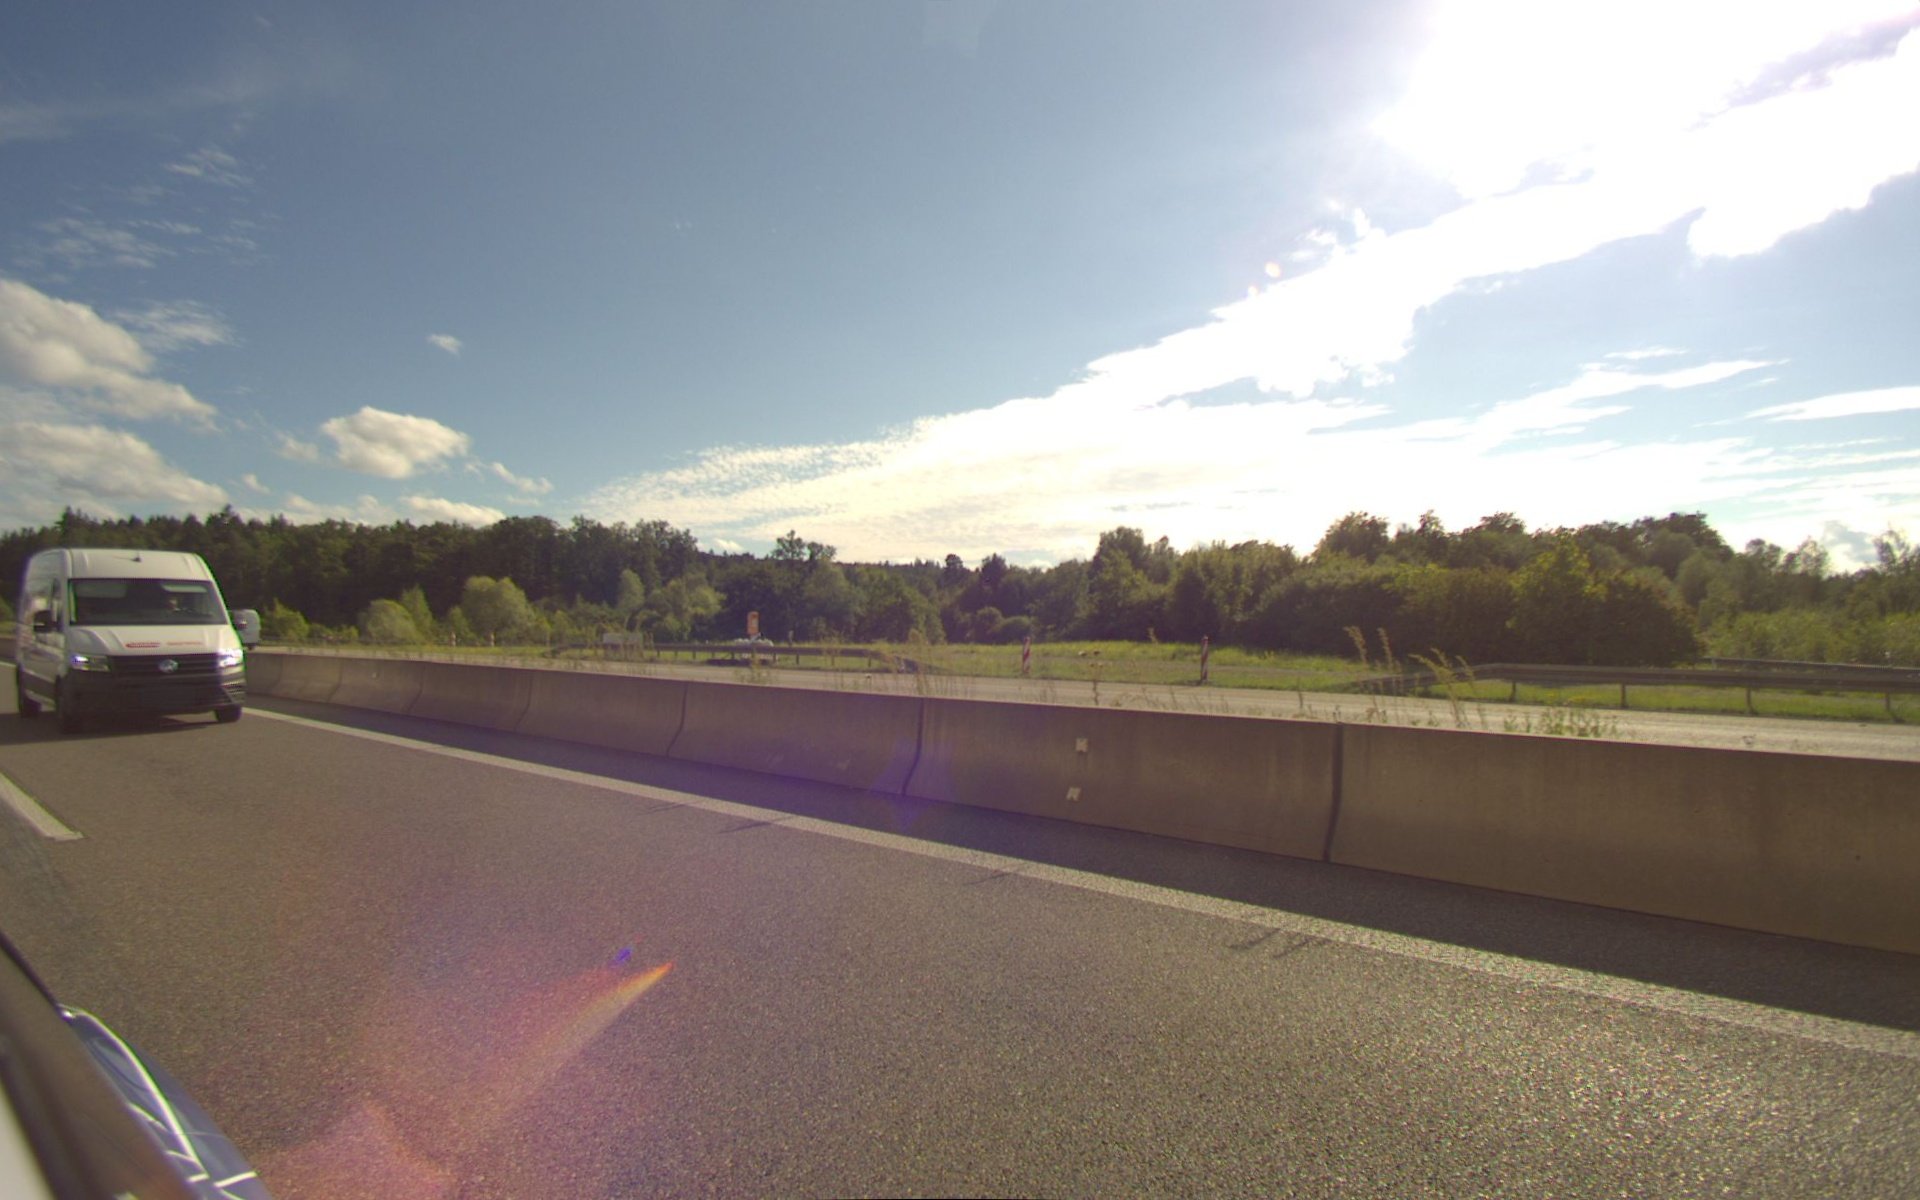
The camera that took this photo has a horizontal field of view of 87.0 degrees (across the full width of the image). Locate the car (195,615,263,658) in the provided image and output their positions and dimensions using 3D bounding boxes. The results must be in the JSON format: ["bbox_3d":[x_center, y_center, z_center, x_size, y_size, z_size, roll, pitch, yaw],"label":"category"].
[{"bbox_3d":[-47.817,2.326,66.123,7.317,2.598,2.012,-1,-1,41],"label":"car"}]

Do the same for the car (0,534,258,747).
[{"bbox_3d":[-12.707,0.597,15.289,6.178,2.619,1.994,-2,-2,41],"label":"car"}]
